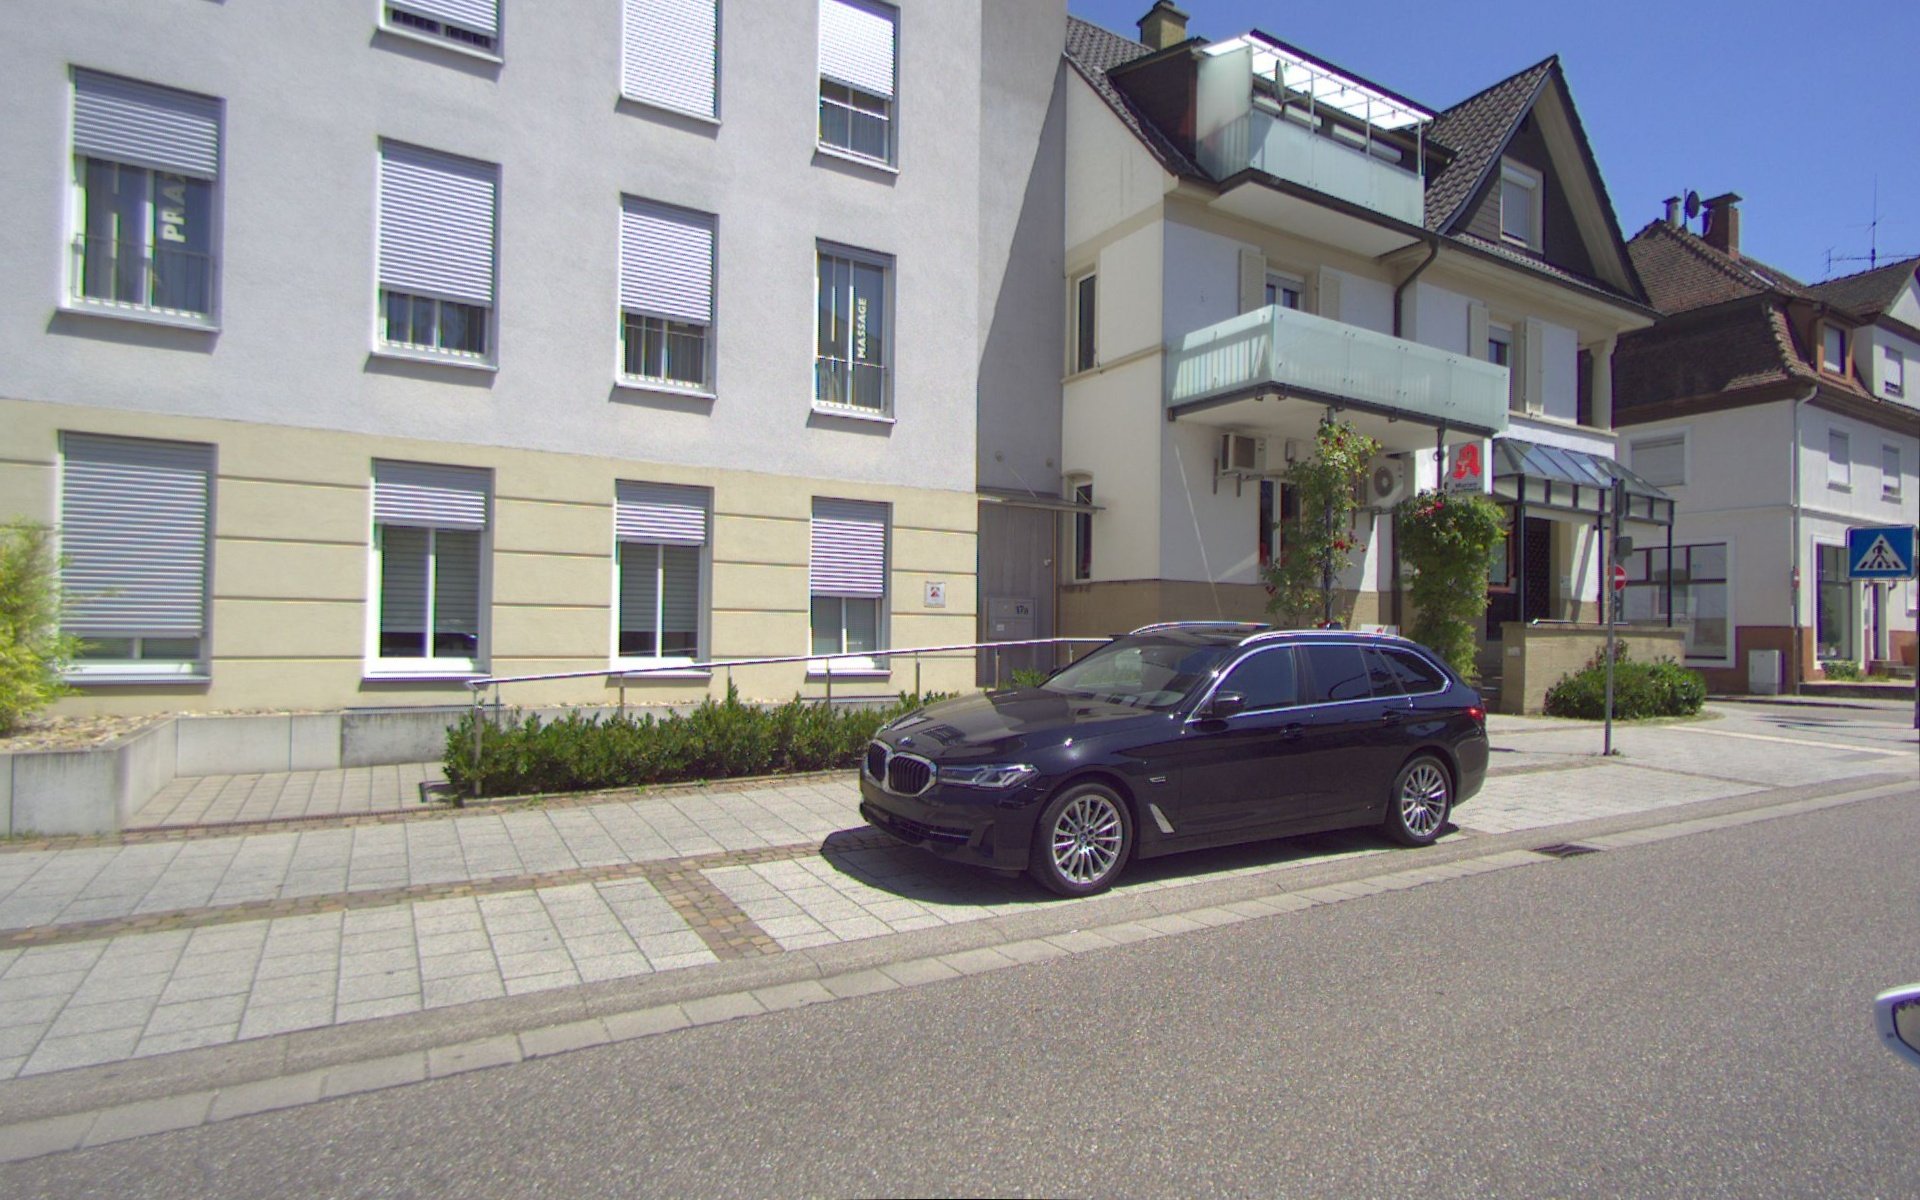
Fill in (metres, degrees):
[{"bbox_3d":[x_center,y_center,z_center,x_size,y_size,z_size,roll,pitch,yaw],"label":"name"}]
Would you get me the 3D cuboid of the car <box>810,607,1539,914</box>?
[{"bbox_3d":[1.684,0.874,7.144,5.088,1.471,1.907,2,1,-30],"label":"car"}]
